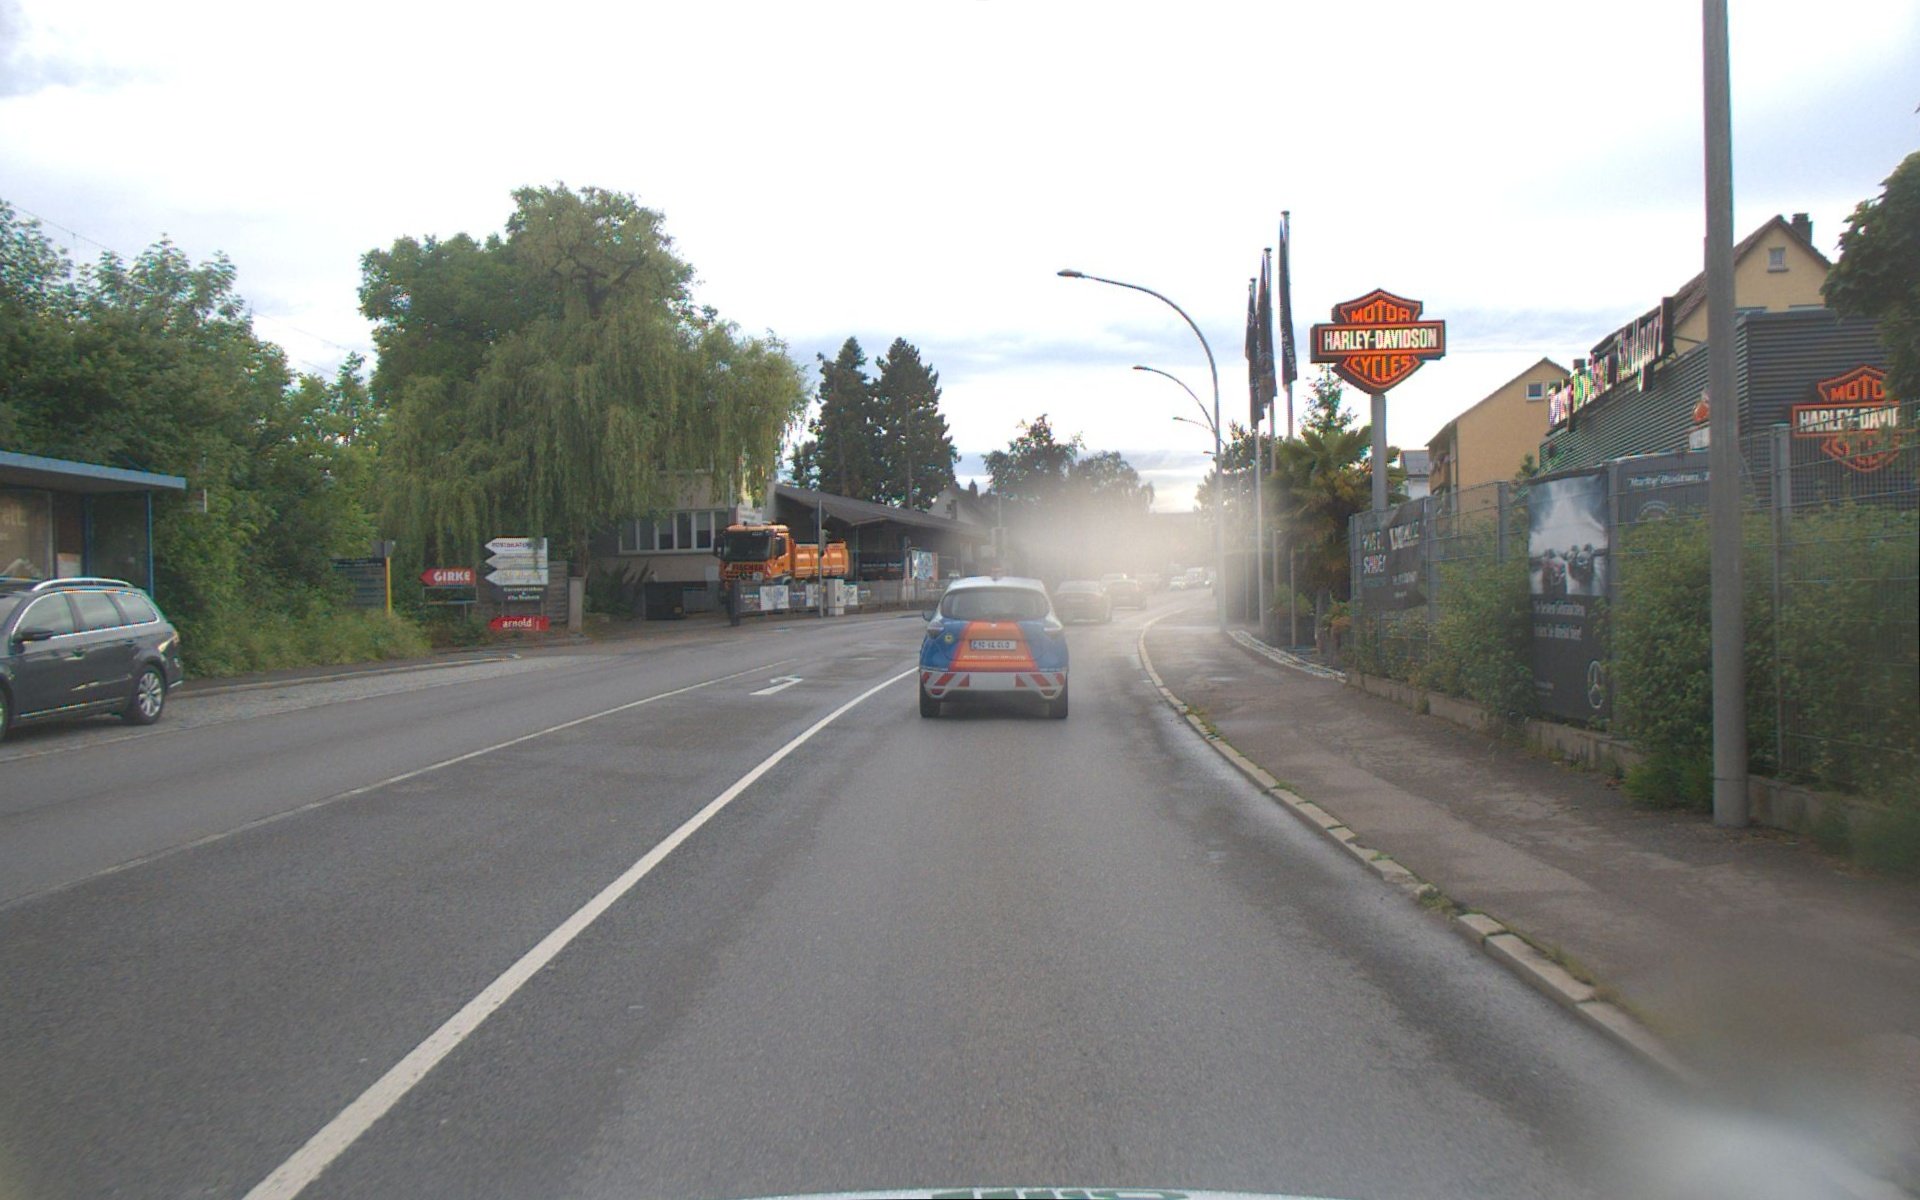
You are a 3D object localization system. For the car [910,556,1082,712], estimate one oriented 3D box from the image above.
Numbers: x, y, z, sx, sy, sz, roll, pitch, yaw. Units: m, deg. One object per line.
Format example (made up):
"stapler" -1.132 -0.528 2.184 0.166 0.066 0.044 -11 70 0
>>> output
"car" 0.502 0.335 19.961 1.849 1.660 4.002 -1 1 3

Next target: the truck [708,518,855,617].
"truck" -6.895 -1.172 65.483 2.640 3.471 9.077 1 -1 15

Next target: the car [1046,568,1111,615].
"car" 3.791 -0.235 53.472 1.686 1.400 3.932 2 -1 -2

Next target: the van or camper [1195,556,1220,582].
"van or camper" 18.568 -2.322 123.881 1.717 1.915 4.004 -1 1 11

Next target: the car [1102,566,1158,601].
"car" 7.878 -0.736 76.286 1.951 1.445 4.002 1 -1 15

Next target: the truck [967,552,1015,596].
"truck" 2.279 -1.851 118.775 2.343 2.978 5.962 1 0 12

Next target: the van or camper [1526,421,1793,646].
"van or camper" 9.490 -0.840 23.092 1.997 2.638 6.596 -1 1 10

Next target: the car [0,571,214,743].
"car" -9.267 0.498 15.770 1.952 1.500 4.701 1 -1 3

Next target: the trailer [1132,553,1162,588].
"trailer" 17.364 -2.759 153.341 2.179 2.039 4.449 -15 9 11

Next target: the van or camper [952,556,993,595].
"van or camper" 0.886 -1.645 113.216 1.819 2.480 5.238 2 -1 11

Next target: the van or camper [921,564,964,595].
"van or camper" -1.072 -1.302 106.584 1.951 1.942 4.476 1 1 10
